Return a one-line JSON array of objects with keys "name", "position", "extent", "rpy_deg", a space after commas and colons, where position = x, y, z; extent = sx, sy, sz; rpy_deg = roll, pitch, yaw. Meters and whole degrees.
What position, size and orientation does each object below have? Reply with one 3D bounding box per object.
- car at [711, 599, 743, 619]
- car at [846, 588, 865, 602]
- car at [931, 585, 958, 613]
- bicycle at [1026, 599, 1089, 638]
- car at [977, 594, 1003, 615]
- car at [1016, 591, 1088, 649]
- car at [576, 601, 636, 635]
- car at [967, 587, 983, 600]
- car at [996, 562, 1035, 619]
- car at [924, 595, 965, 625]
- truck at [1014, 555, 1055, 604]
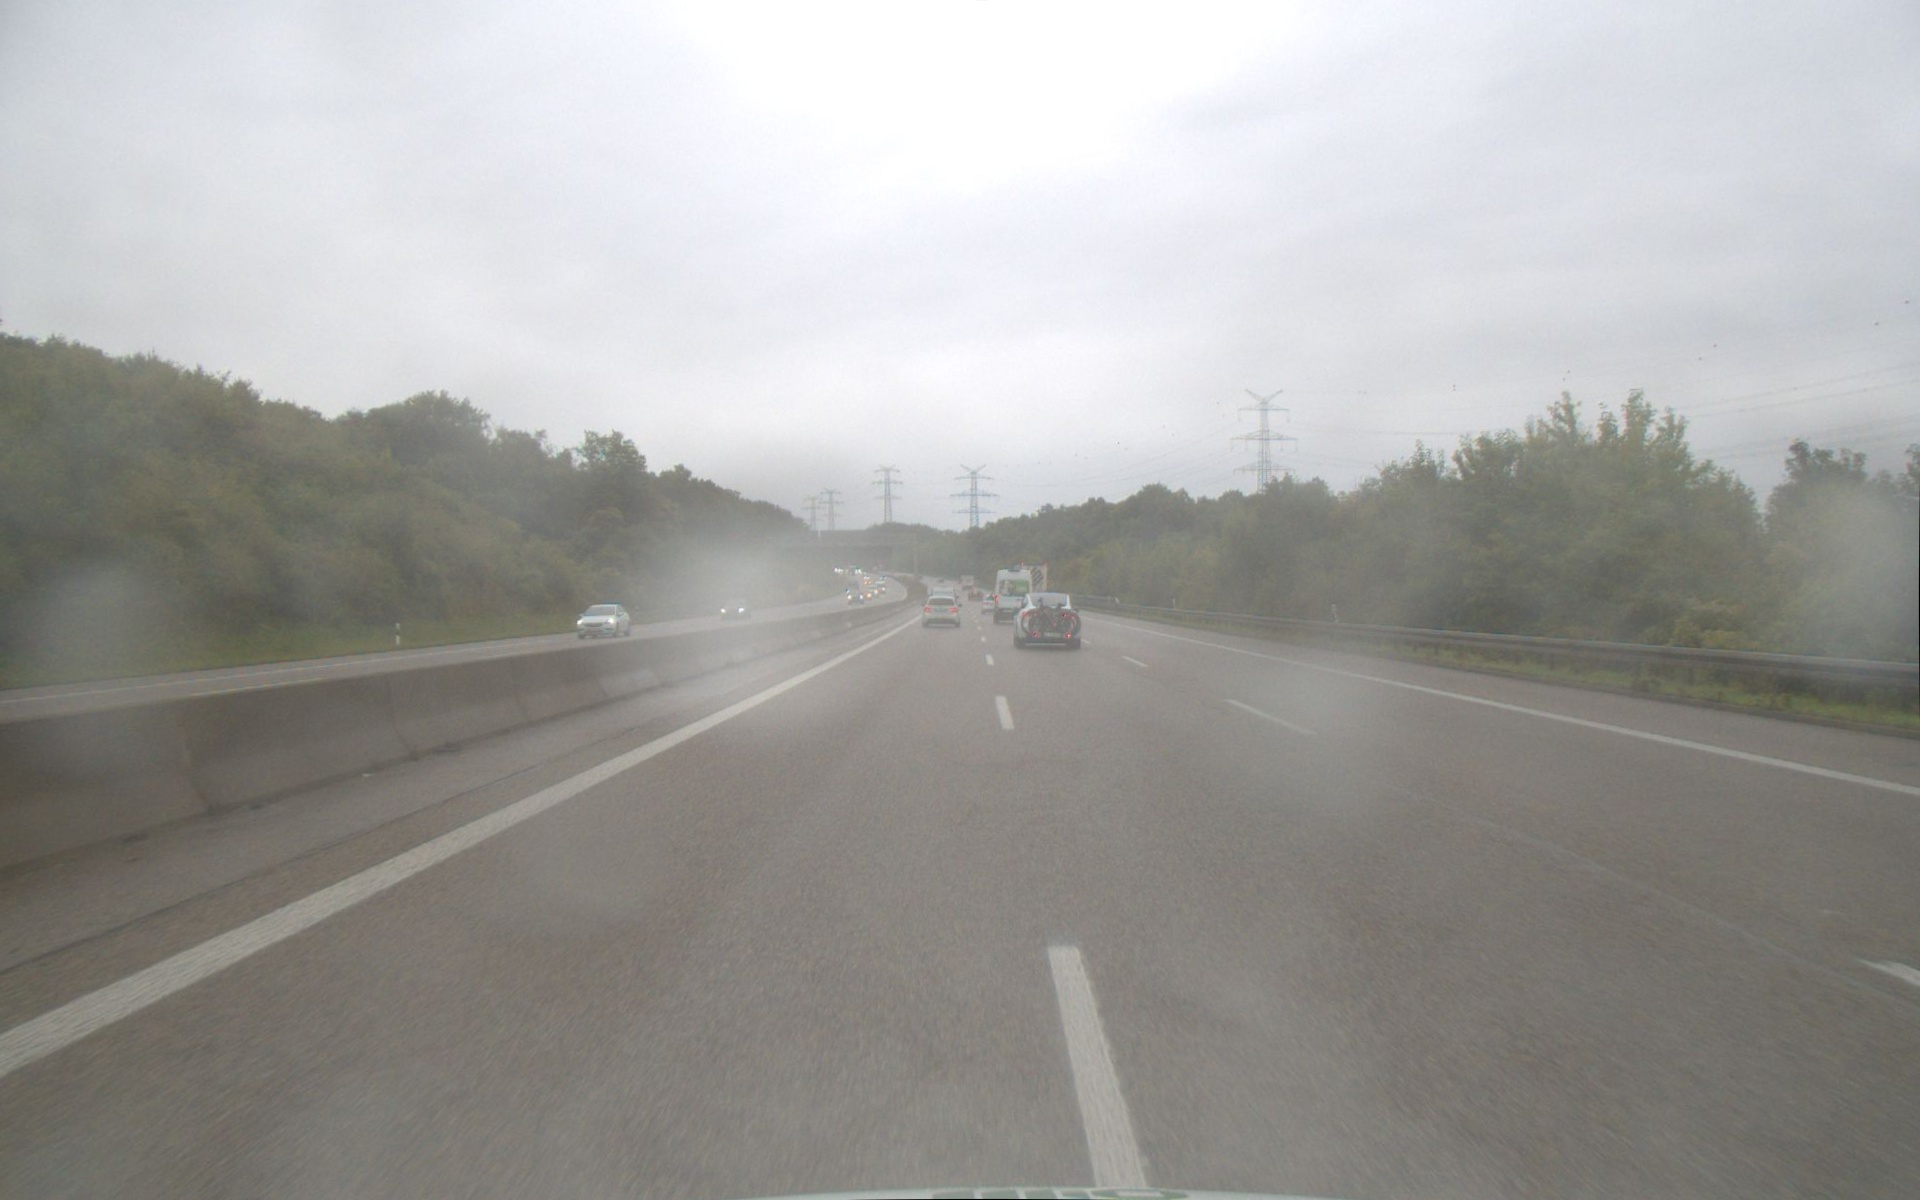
[{"name": "car", "position": [-16.889, 0.641, 120.042], "extent": [1.762, 1.409, 4.467], "rpy_deg": [-1, 0, 0]}, {"name": "car", "position": [-12.849, -0.616, 203.408], "extent": [1.953, 1.717, 4.916], "rpy_deg": [-1, 0, 0]}, {"name": "car", "position": [-1.056, -0.037, 113.204], "extent": [1.808, 1.803, 3.999], "rpy_deg": [1, -1, -1]}, {"name": "bicycle", "position": [2.729, 0.521, 46.569], "extent": [1.717, 1.109, 0.913], "rpy_deg": [0, -1, -1]}, {"name": "car", "position": [2.188, 0.312, 120.213], "extent": [1.819, 1.447, 4.000], "rpy_deg": [0, 1, 0]}, {"name": "car", "position": [2.706, 0.549, 49.506], "extent": [1.822, 1.595, 4.963], "rpy_deg": [1, 1, -1]}, {"name": "car", "position": [-16.203, 0.811, 75.821], "extent": [1.761, 1.475, 4.628], "rpy_deg": [-1, 0, -1]}, {"name": "car", "position": [1.939, -0.851, 212.523], "extent": [1.953, 1.601, 3.999], "rpy_deg": [-1, 0, -1]}, {"name": "car", "position": [2.896, -0.489, 87.117], "extent": [1.952, 2.914, 4.000], "rpy_deg": [-1, 0, 1]}, {"name": "car", "position": [-0.734, 0.443, 76.563], "extent": [1.829, 1.310, 3.999], "rpy_deg": [-1, 0, -1]}, {"name": "truck", "position": [6.968, -1.918, 156.500], "extent": [3.529, 4.408, 13.201], "rpy_deg": [0, 0, 1]}]
